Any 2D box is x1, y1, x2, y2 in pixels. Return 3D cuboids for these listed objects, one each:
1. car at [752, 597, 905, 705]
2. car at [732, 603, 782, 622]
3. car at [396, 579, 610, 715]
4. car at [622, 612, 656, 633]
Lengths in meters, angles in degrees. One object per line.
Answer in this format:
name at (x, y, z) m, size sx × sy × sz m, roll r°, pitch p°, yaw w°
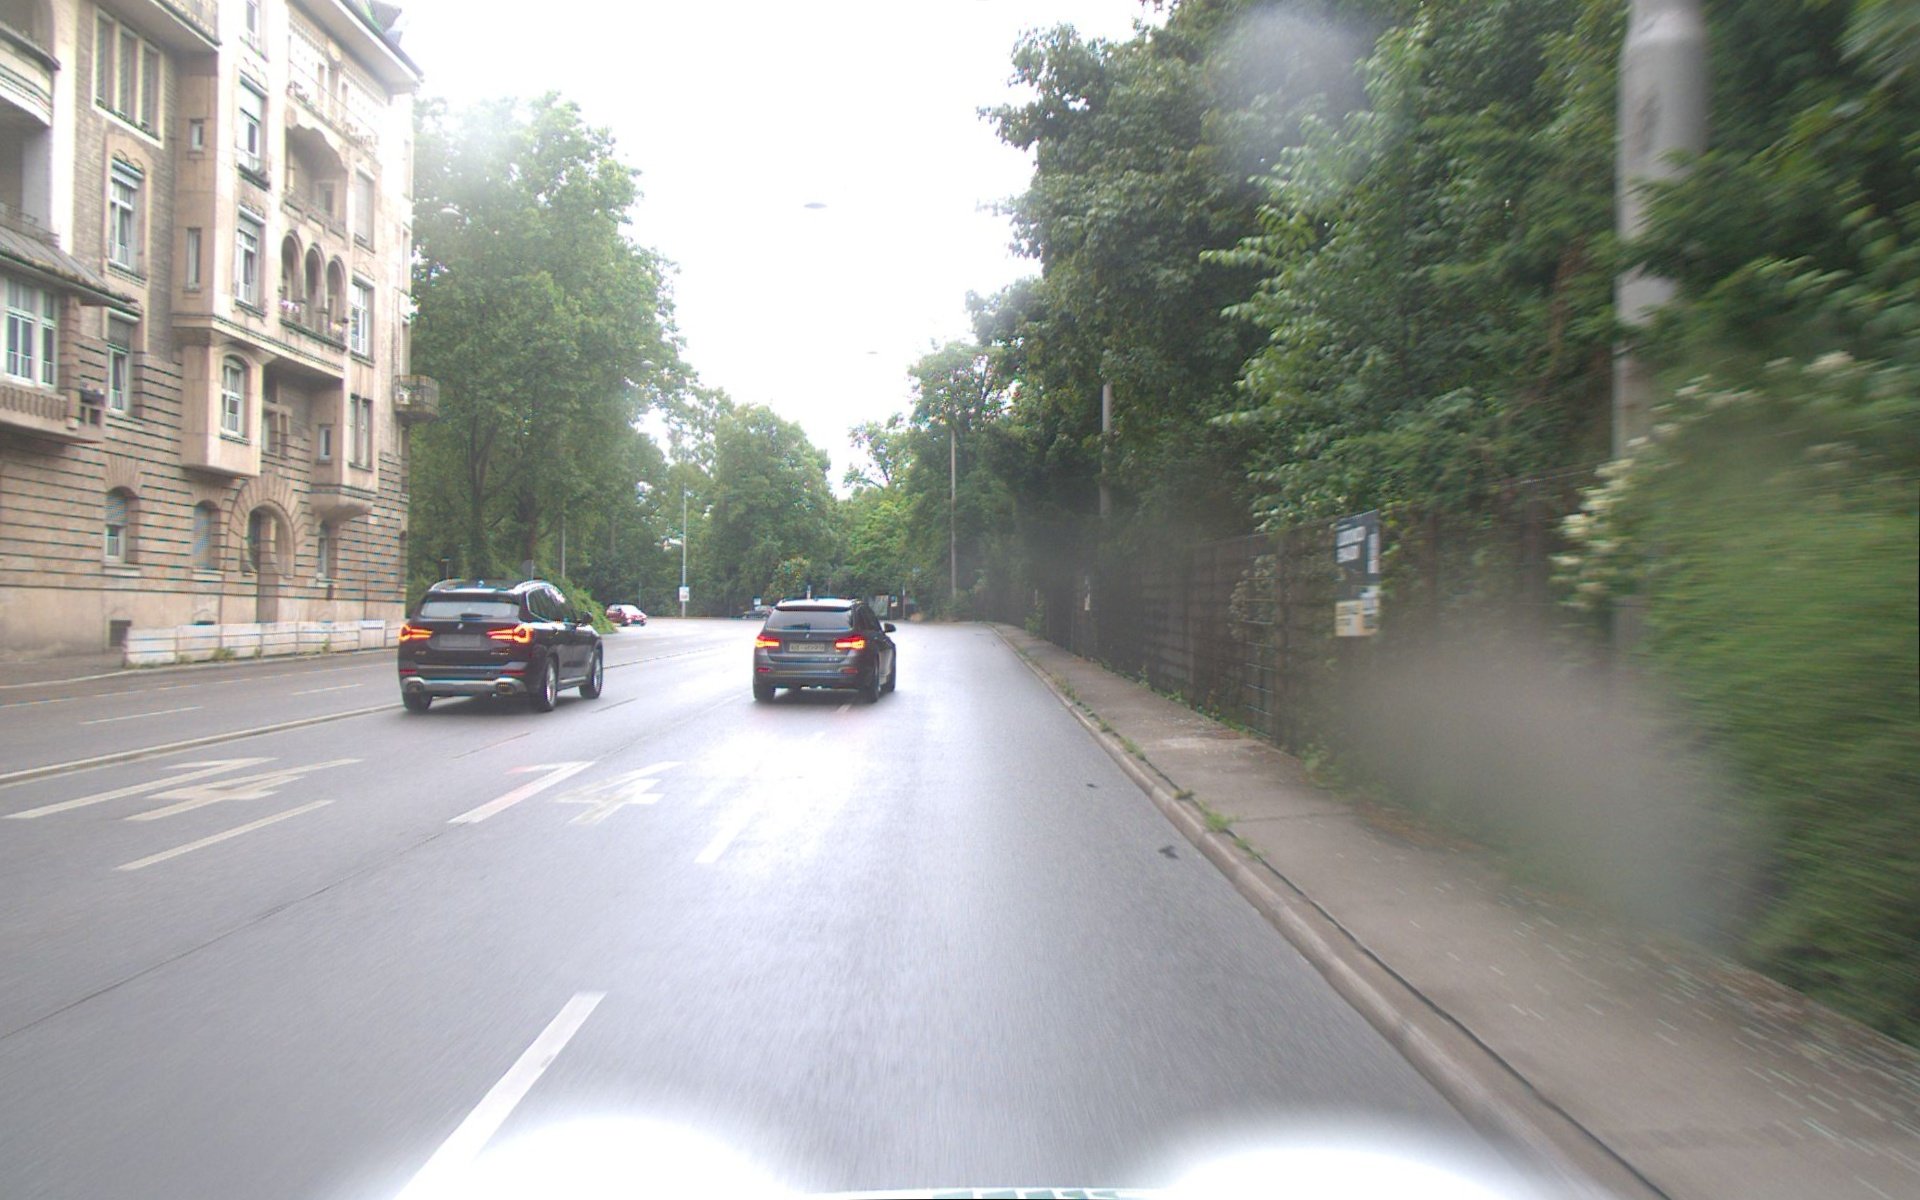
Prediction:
car at (-1.879, 0.710, 24.877) m, size 1.721 × 1.457 × 4.414 m, roll -1°, pitch 0°, yaw 3°
car at (-16.924, 1.050, 137.692) m, size 4.295 × 1.452 × 1.682 m, roll 0°, pitch -3°, yaw 43°
car at (-6.012, 0.578, 22.280) m, size 1.722 × 1.613 × 4.411 m, roll 1°, pitch 0°, yaw -1°
car at (-22.258, 1.560, 114.840) m, size 1.547 × 1.439 × 3.961 m, roll 0°, pitch 0°, yaw 0°
